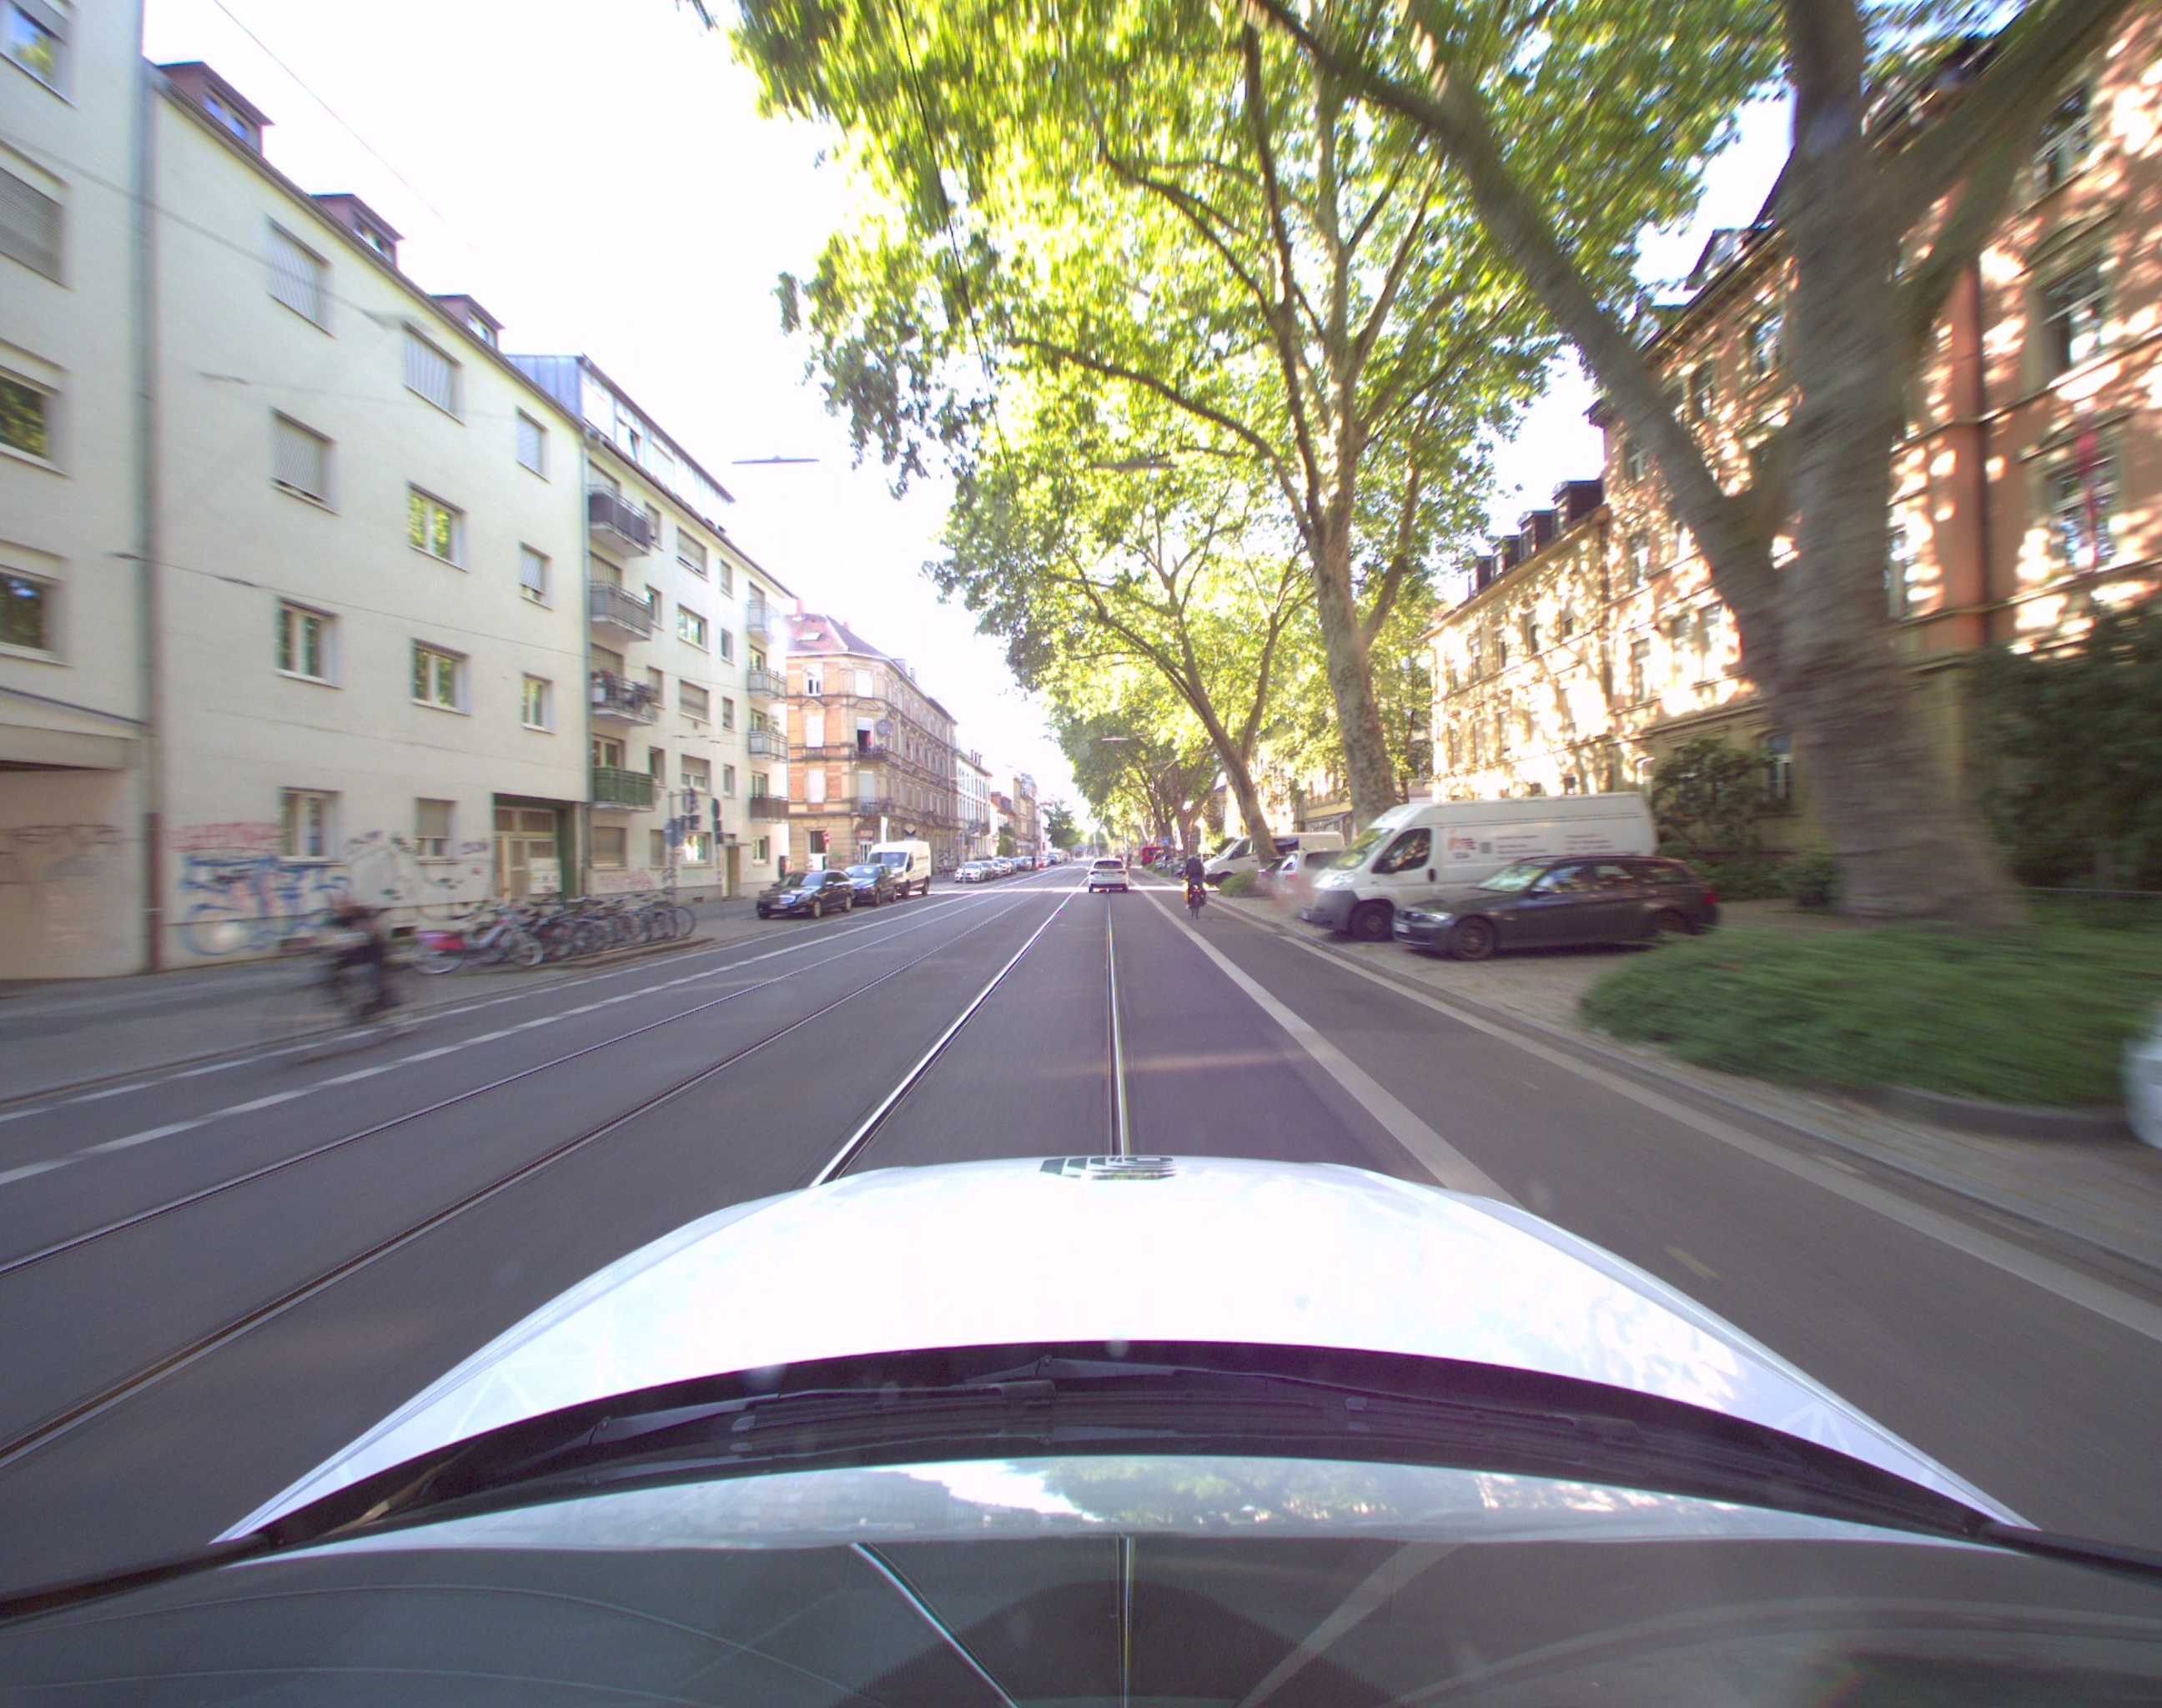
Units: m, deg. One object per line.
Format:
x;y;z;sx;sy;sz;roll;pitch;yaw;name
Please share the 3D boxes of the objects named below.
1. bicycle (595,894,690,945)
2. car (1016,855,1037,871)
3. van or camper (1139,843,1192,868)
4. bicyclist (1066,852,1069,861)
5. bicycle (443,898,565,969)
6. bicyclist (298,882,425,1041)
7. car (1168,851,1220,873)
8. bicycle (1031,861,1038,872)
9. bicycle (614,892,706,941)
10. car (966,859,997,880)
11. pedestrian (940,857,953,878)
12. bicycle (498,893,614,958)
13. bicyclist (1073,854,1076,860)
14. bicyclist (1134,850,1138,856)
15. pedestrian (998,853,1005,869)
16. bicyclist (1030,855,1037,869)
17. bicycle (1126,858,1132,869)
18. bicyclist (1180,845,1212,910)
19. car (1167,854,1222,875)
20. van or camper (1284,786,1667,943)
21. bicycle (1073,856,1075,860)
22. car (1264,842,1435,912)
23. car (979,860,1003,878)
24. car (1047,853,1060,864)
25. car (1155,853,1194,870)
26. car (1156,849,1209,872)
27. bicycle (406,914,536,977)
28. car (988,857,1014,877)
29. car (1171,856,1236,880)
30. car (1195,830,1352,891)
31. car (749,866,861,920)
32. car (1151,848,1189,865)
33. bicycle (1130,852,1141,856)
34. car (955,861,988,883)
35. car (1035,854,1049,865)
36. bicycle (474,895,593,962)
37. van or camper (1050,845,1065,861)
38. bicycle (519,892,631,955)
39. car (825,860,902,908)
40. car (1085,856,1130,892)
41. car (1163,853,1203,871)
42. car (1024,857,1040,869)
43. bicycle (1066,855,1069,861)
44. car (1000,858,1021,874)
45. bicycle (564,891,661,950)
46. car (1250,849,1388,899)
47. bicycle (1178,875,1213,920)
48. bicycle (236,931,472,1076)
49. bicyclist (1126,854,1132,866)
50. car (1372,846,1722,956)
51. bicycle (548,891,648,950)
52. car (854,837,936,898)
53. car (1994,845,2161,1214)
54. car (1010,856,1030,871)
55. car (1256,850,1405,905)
-9.258;1.380;17.203;1.883;1.038;0.403;0;0;8;bicycle
-6.258;0.998;93.849;1.849;1.703;4.766;-2;0;3;car
9.706;0.115;93.853;5.797;2.519;2.287;-3;1;-1;van or camper
-2.378;0.422;144.922;0.471;1.636;0.800;-2;0;3;bicyclist
-9.648;1.318;13.622;1.883;1.119;0.403;0;0;8;bicycle
-6.835;0.989;7.770;0.507;1.394;0.710;-3;0;1;bicyclist
9.300;0.626;67.175;4.015;1.643;1.681;-2;0;0;car
-4.889;1.284;85.732;0.419;1.150;2.232;-2;-1;1;bicycle
-9.205;1.360;17.813;1.883;1.038;0.403;0;0;8;bicycle
-7.633;1.160;63.072;1.734;1.562;4.787;0;0;1;car
-10.876;1.101;65.781;0.656;1.665;0.773;0;-1;33;pedestrian
-9.529;1.286;14.790;1.949;1.119;0.440;0;0;8;bicycle
-1.658;0.667;196.734;0.635;1.503;1.070;-3;0;3;bicyclist
14.342;-0.216;212.446;0.731;1.589;0.589;-2;0;14;bicyclist
-9.777;0.876;100.328;0.757;2.013;0.830;-1;0;0;pedestrian
-4.958;0.839;85.641;0.580;1.482;0.807;-2;0;1;bicyclist
5.287;1.071;90.075;0.677;1.155;2.966;0;0;2;bicycle
2.889;0.574;20.508;0.612;1.552;0.936;3;0;2;bicyclist
8.940;0.806;64.364;4.014;1.480;1.681;-2;0;0;car
7.028;0.181;15.038;6.011;2.491;2.108;-2;0;1;van or camper
-1.676;1.050;196.789;0.496;0.943;1.923;-3;0;4;bicycle
7.056;0.589;21.682;3.943;1.655;1.795;-2;-1;-2;car
-7.478;1.245;68.216;1.695;1.420;3.997;0;0;-2;car
-4.762;0.773;142.010;1.957;1.781;4.937;1;0;0;car
9.138;0.728;79.538;3.582;1.517;1.694;-3;0;1;car
8.758;0.567;70.223;4.249;1.719;1.848;-4;0;-1;car
-9.732;1.443;13.034;1.621;0.917;0.400;0;0;-15;bicycle
-7.175;1.133;73.429;1.779;1.723;4.721;0;0;2;car
8.261;0.966;55.266;4.084;1.491;1.830;-1;0;-1;car
7.818;0.247;33.530;5.966;2.282;2.008;-2;1;3;car
-8.581;1.169;25.779;1.711;1.456;4.576;-1;0;3;car
9.751;0.276;89.316;3.807;1.649;1.766;-3;-1;-1;car
14.297;0.074;212.475;2.748;0.999;0.595;0;0;16;bicycle
-7.699;1.262;57.514;1.734;1.492;4.045;0;0;1;car
-5.699;0.796;120.382;1.821;1.502;4.688;0;0;0;car
-9.570;1.285;14.252;1.920;1.119;0.440;0;0;8;bicycle
-4.612;-0.175;159.987;2.207;3.140;7.121;0;0;4;van or camper
-9.480;1.287;15.276;1.957;1.119;0.425;0;0;8;bicycle
-8.301;1.094;31.437;1.712;1.631;4.347;-1;0;0;car
1.124;0.850;35.887;1.836;1.480;3.838;0;0;0;car
9.648;0.779;77.103;3.581;1.599;1.541;-2;-1;2;car
-6.232;1.137;104.275;1.680;1.477;4.260;0;0;2;car
-2.398;0.759;144.760;0.479;1.086;1.847;-2;0;3;bicycle
-6.805;1.172;78.771;1.657;1.521;4.064;0;0;0;car
-9.349;1.317;16.252;1.779;1.119;0.425;0;0;8;bicycle
7.816;0.649;27.034;4.041;1.460;1.796;-2;0;0;car
2.858;1.061;20.510;0.593;1.004;2.512;1;0;2;bicycle
-6.820;1.341;7.797;0.415;1.018;1.948;-3;0;2;bicycle
5.283;0.646;90.204;0.676;1.339;0.525;0;0;2;bicyclist
6.955;0.673;12.498;4.373;1.552;1.783;0;0;1;car
-9.454;1.289;15.963;1.808;1.119;0.425;0;0;8;bicycle
-8.368;0.570;37.193;2.056;2.535;5.672;-1;0;4;car
6.315;0.647;2.962;3.937;1.480;1.690;-2;0;3;car
-6.636;1.043;88.747;1.547;1.515;3.929;-2;0;4;car
7.428;0.689;24.512;3.940;1.478;1.796;-2;0;1;car
